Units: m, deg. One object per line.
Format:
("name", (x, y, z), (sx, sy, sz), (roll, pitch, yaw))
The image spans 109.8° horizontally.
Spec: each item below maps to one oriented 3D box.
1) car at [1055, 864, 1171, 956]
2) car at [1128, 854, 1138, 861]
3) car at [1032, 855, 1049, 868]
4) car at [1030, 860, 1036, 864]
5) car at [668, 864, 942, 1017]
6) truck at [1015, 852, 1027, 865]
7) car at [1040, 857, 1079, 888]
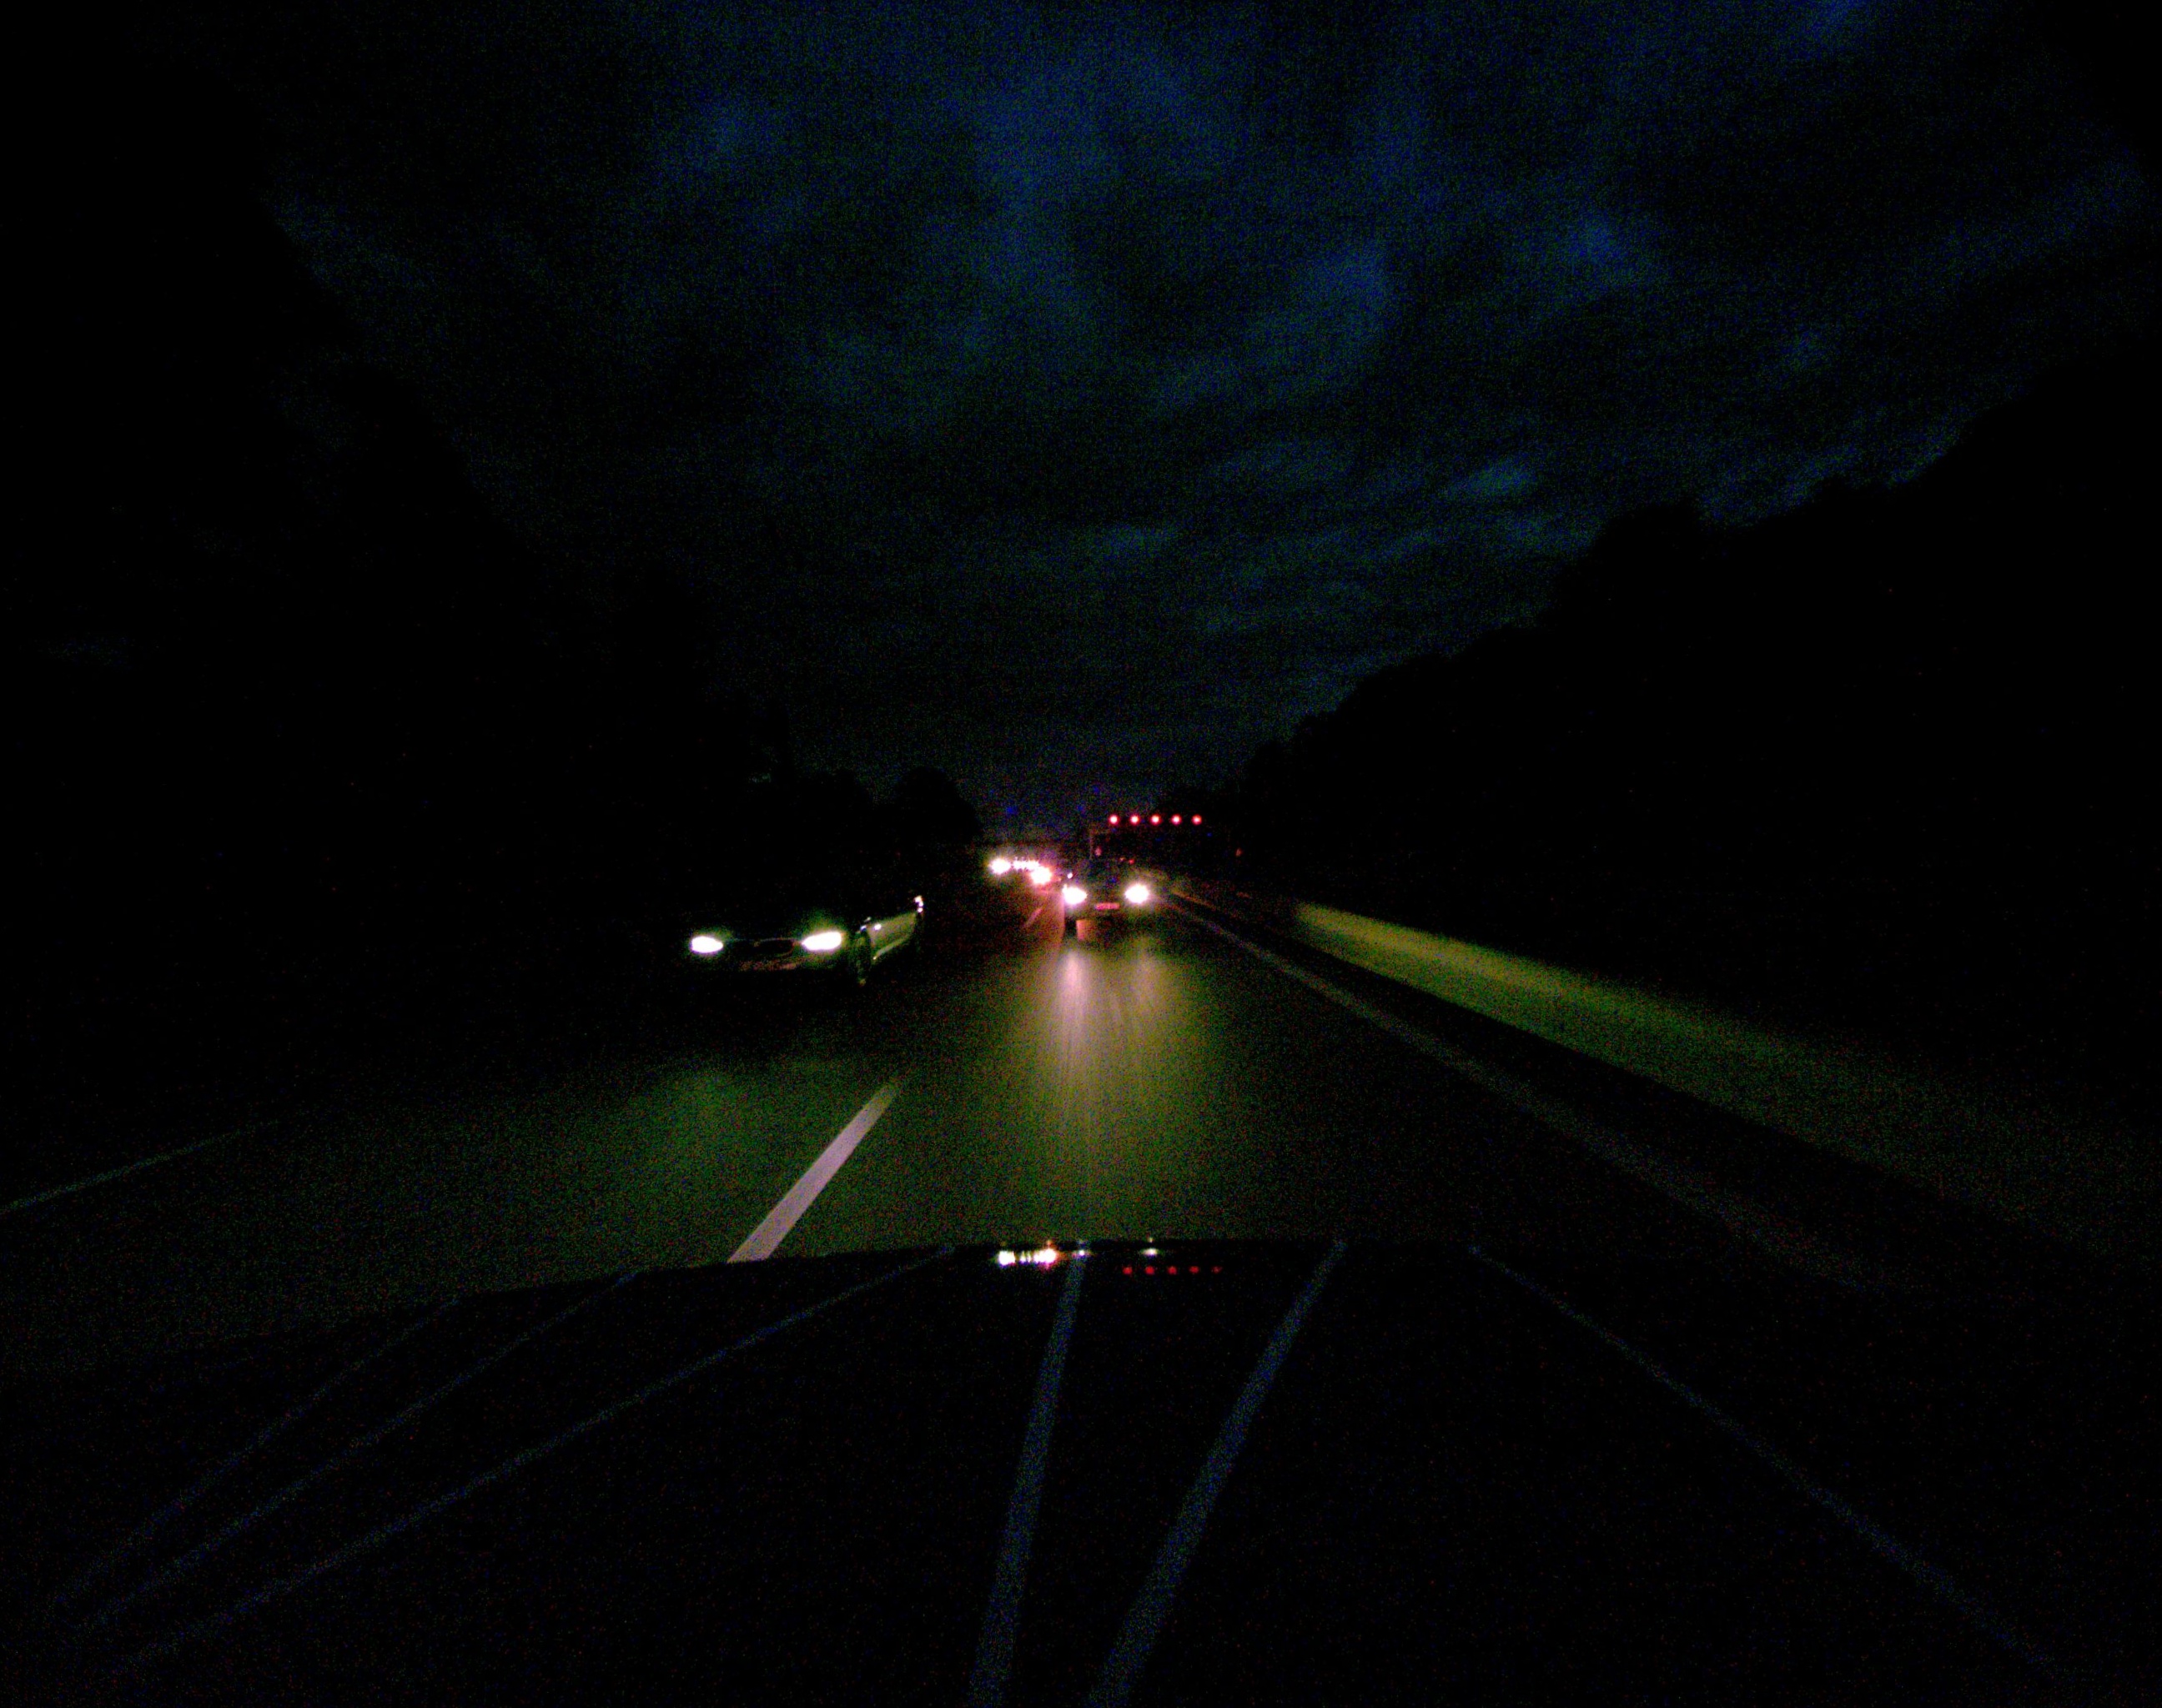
("car", (0.528, 0.949, 14.675), (1.879, 1.435, 4.451), (-1, 0, 0))
("car", (10.365, 0.654, 151.403), (1.623, 1.397, 4.314), (-1, 0, -1))
("car", (-4.876, 0.934, 92.269), (1.999, 1.539, 4.000), (-1, -1, -3))
("car", (-16.030, 2.675, 254.806), (1.820, 1.372, 4.196), (-2, 0, -8))
("car", (-3.471, 0.971, 10.840), (1.914, 1.528, 5.231), (-1, 0, 1))
("truck", (-20.064, 1.501, 251.870), (3.147, 3.986, 10.538), (-1, -1, -9))
("car", (-1.063, 0.885, 39.212), (1.813, 1.457, 5.131), (-1, 0, 0))
